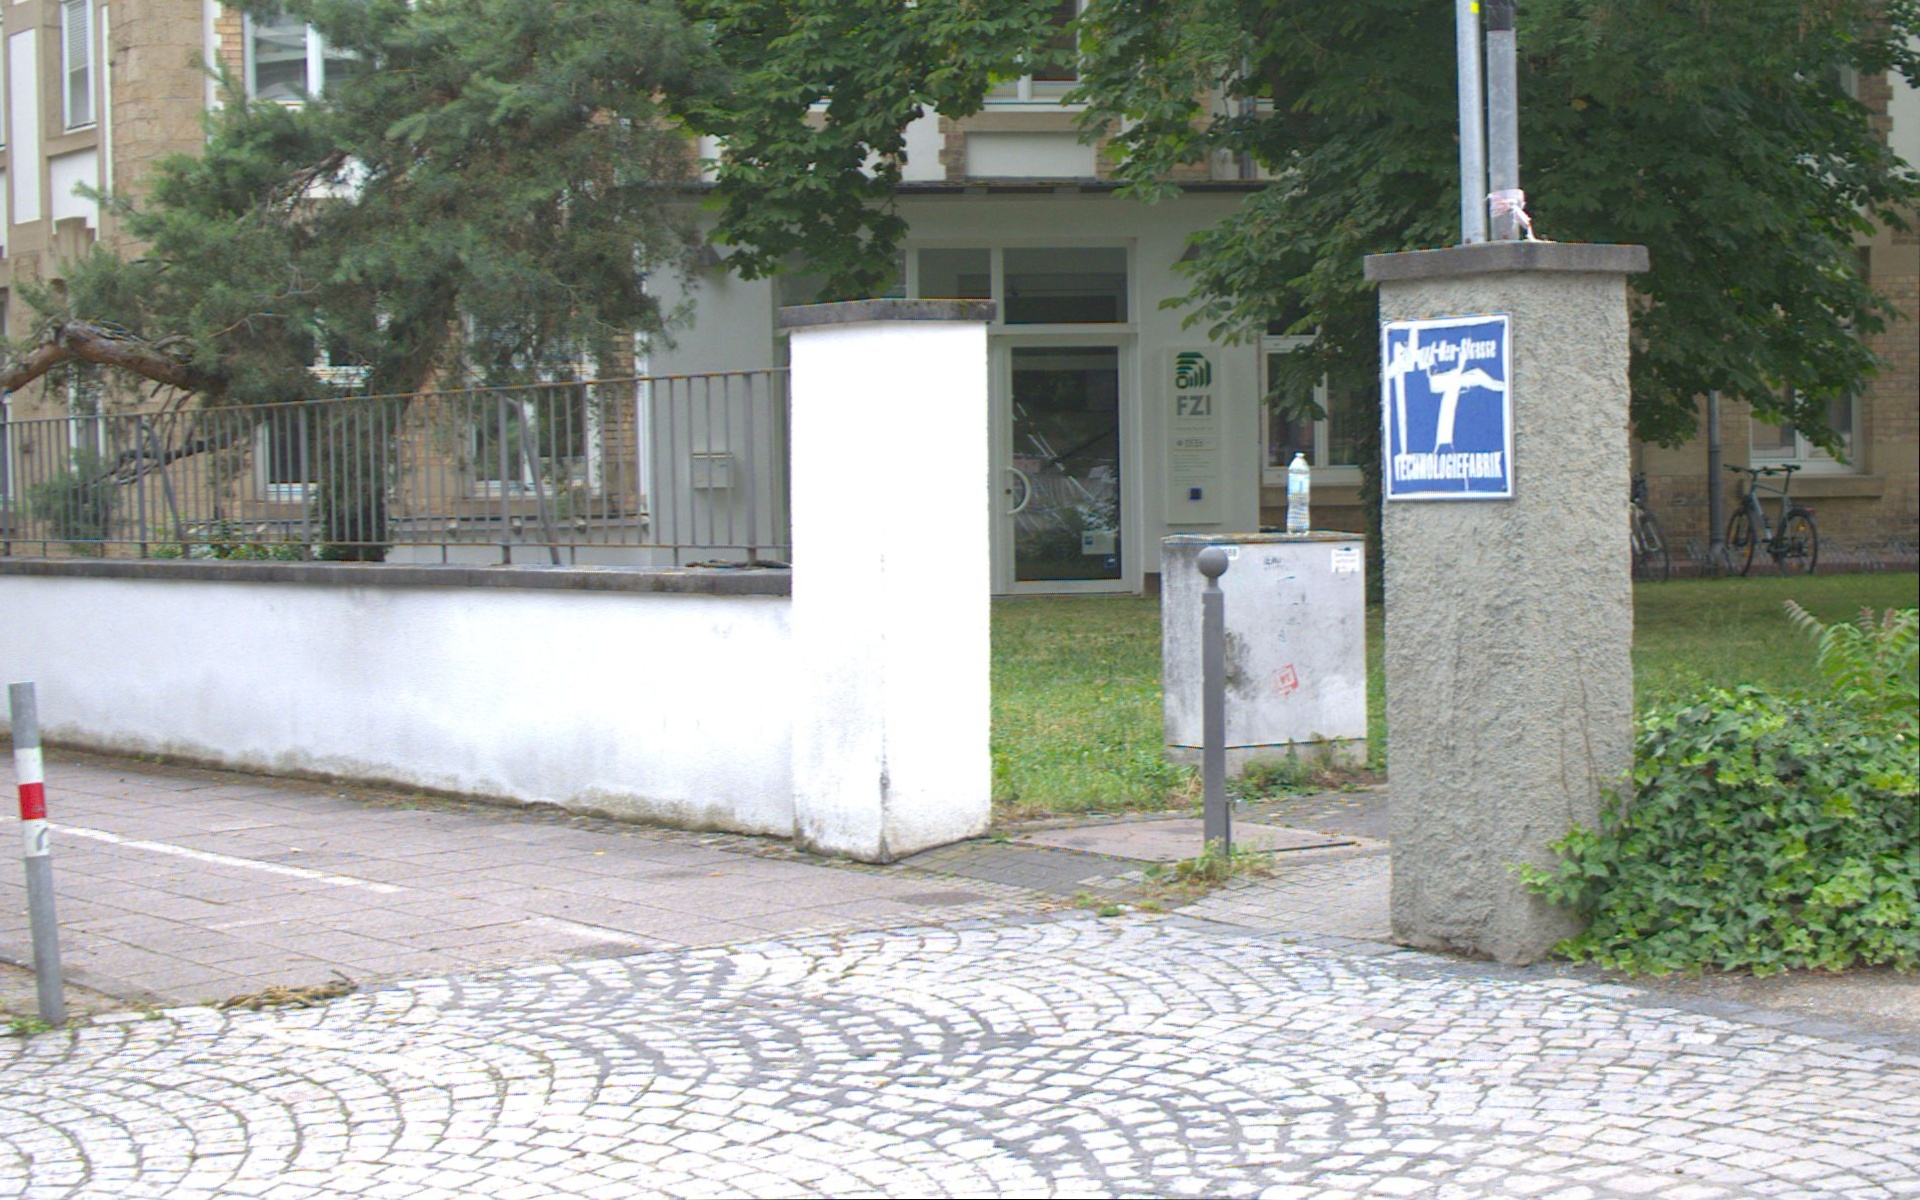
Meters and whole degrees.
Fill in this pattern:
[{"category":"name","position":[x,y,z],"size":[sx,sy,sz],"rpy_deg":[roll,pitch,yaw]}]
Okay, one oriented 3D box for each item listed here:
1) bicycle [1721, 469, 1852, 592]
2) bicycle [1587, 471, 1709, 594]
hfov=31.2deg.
[{"category":"bicycle","position":[7.873,-0.681,32.837],"size":[0.617,1.115,2.222],"rpy_deg":[-1,2,-2]},{"category":"bicycle","position":[6.530,-0.661,32.738],"size":[0.617,1.115,2.222],"rpy_deg":[-1,2,-2]}]
